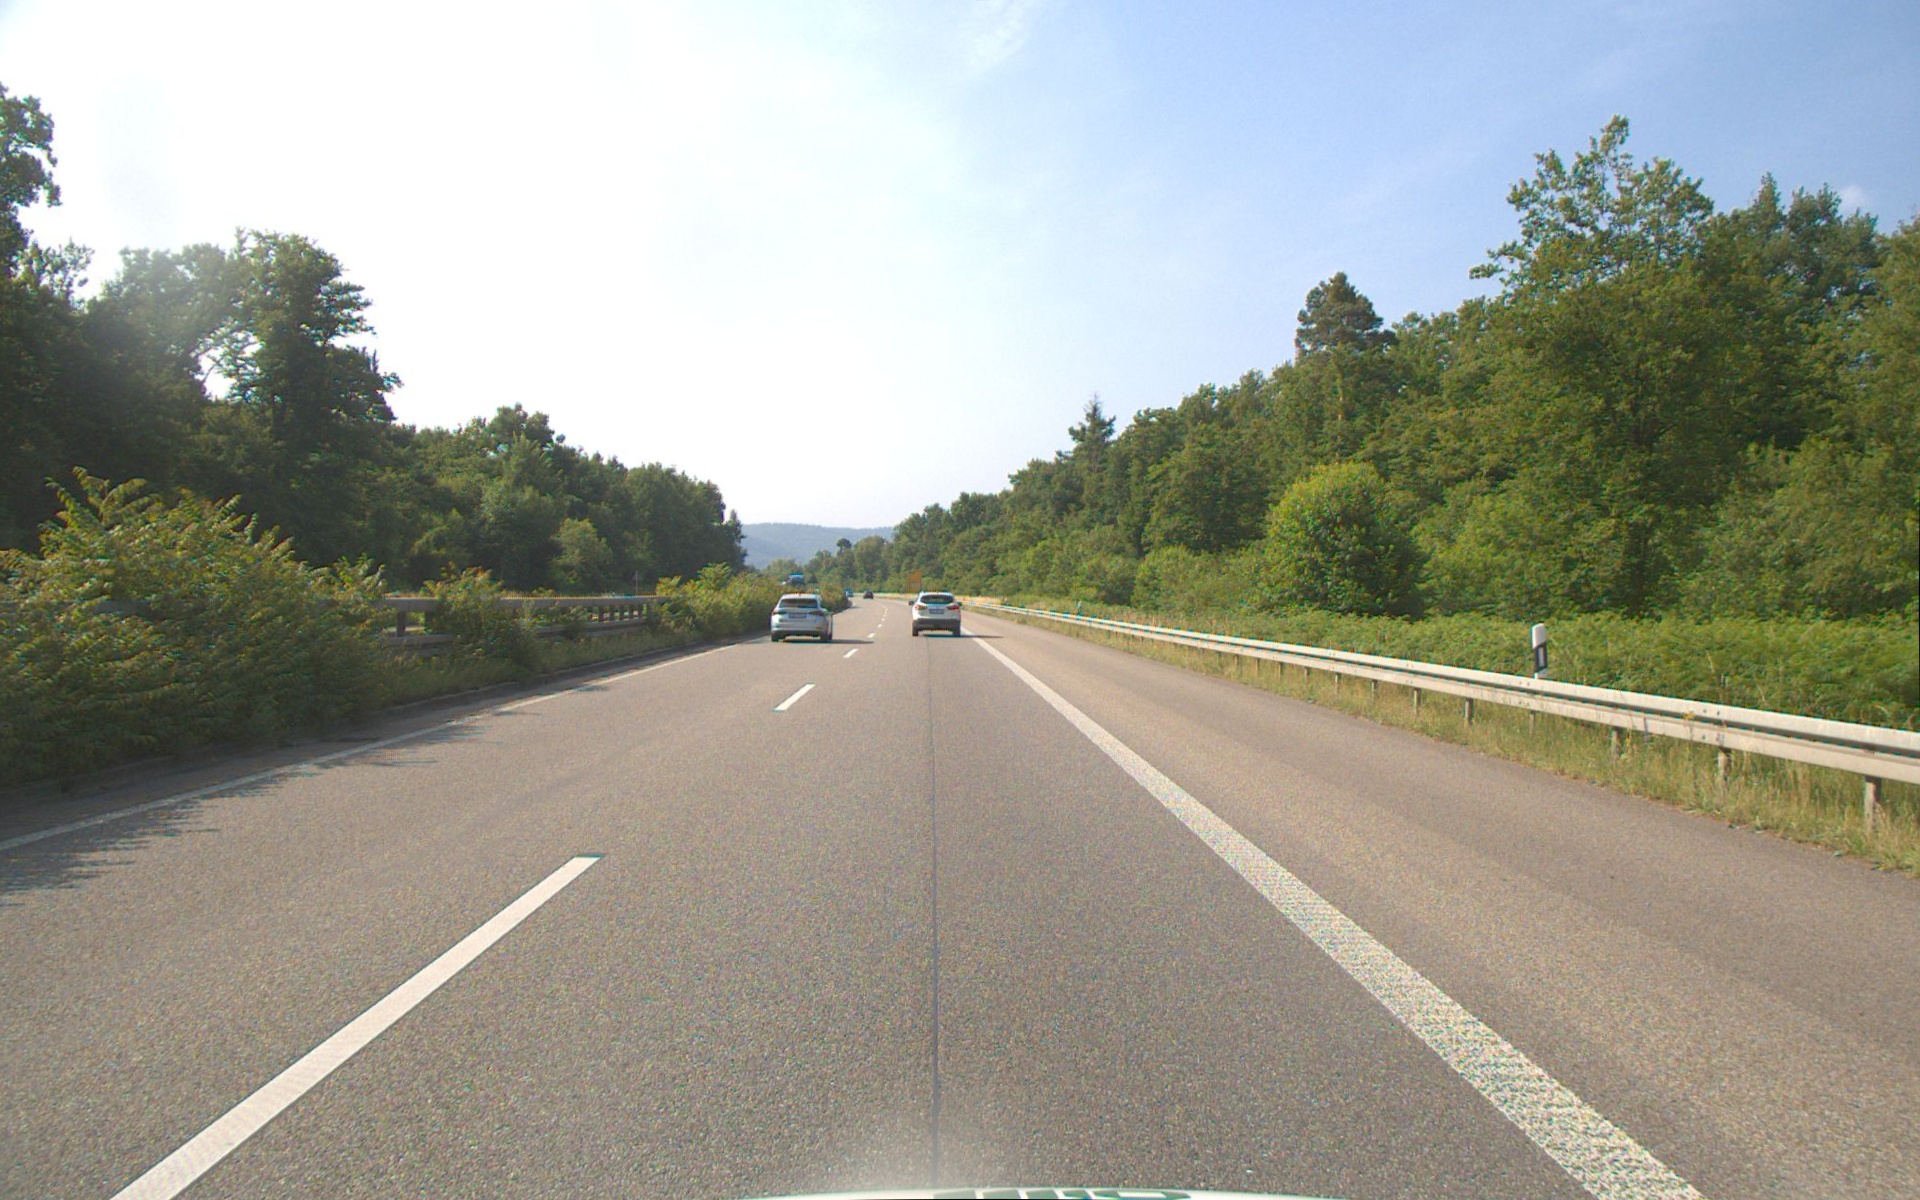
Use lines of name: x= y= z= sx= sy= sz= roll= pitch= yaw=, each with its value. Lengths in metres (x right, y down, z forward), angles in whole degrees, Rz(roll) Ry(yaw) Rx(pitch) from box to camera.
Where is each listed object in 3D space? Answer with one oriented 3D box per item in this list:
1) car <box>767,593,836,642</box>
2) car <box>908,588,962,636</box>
car: x=-4.971 y=0.519 z=52.354 sx=1.756 sy=1.463 sz=5.277 roll=0 pitch=0 yaw=-1
car: x=-0.955 y=0.420 z=61.050 sx=1.836 sy=1.614 sz=3.998 roll=3 pitch=0 yaw=-3
